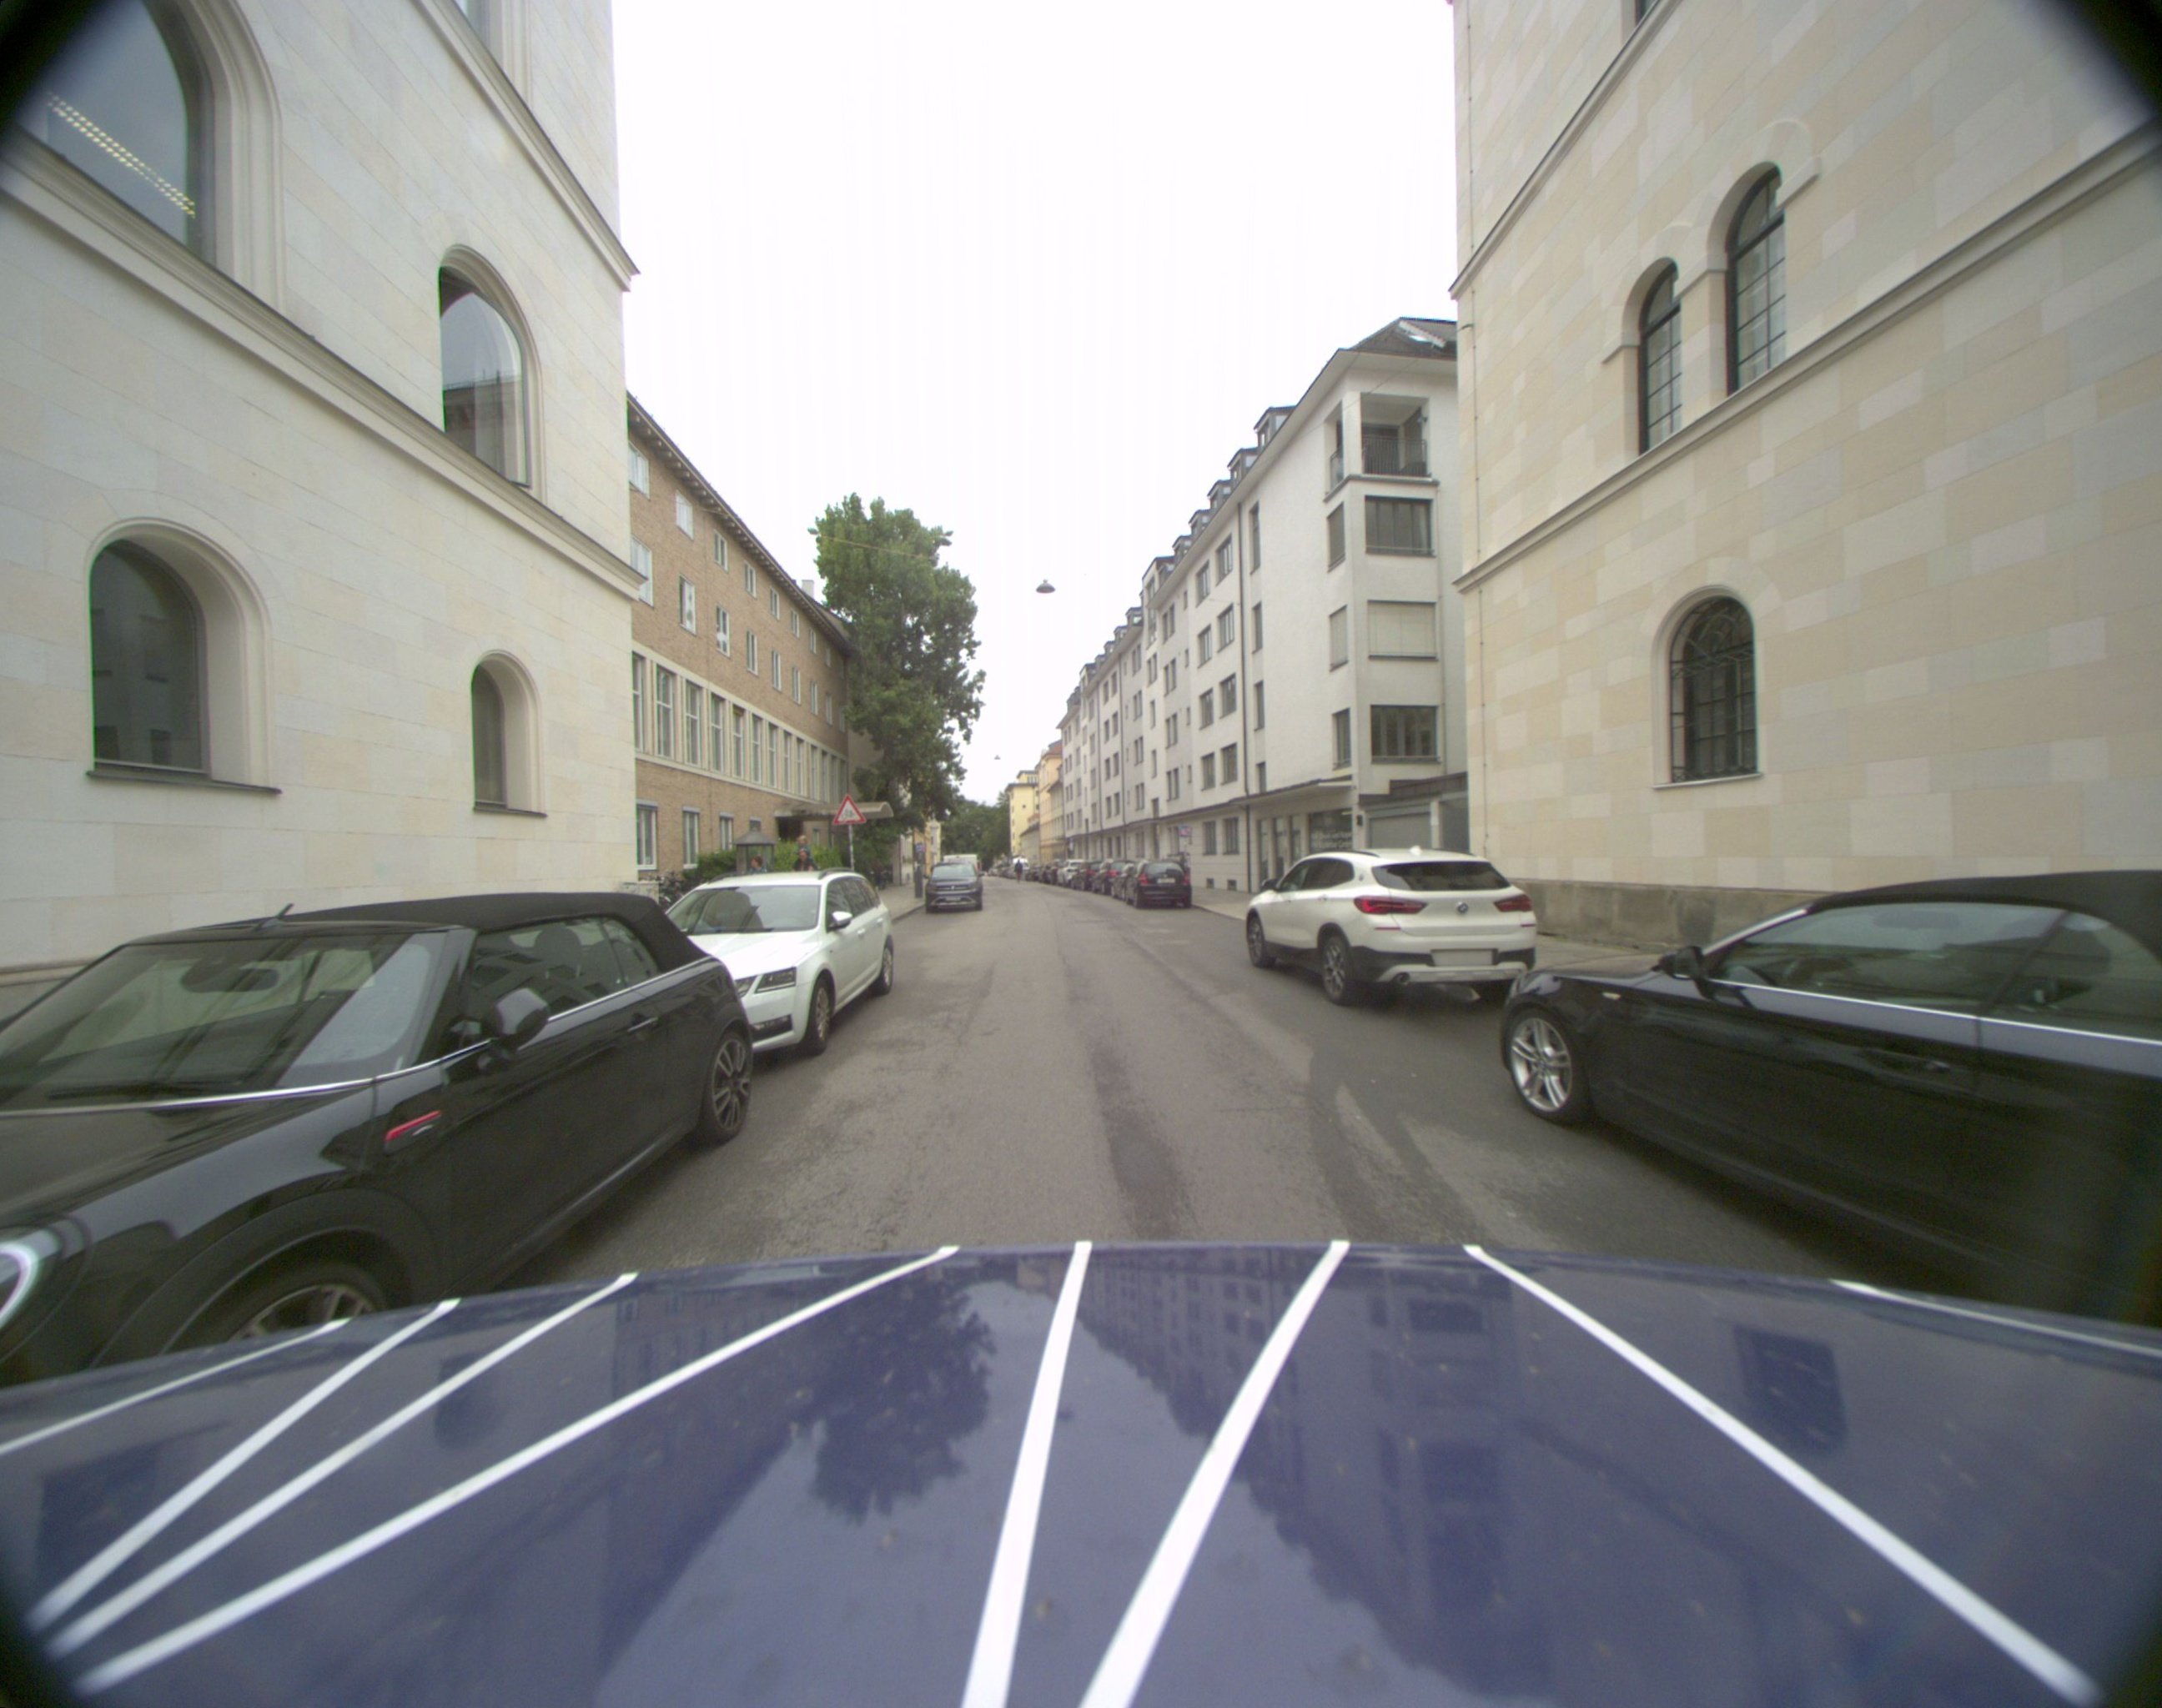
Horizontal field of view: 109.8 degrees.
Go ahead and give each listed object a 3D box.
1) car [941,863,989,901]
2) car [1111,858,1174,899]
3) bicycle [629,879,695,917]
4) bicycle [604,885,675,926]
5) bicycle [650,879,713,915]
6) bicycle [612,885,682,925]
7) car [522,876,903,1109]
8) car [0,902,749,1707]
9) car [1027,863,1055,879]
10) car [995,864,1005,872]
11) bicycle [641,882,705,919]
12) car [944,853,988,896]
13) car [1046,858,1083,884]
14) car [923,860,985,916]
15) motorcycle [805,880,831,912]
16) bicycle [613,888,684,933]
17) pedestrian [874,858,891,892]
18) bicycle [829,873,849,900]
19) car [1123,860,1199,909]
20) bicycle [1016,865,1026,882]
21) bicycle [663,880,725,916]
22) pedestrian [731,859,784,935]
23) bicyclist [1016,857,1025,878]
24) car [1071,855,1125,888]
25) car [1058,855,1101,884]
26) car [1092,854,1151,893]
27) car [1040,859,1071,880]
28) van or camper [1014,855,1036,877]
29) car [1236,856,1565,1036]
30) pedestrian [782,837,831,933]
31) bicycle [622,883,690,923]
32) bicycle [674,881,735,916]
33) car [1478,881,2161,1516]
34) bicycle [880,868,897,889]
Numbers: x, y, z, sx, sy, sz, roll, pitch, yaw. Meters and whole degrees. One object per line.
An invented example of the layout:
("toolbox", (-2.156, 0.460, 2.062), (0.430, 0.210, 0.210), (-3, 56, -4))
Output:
("car", (-4.896, 1.147, 32.441), (1.678, 1.409, 4.199), (-2, 0, -5))
("car", (2.267, 0.927, 28.999), (1.756, 1.444, 4.014), (0, -1, -5))
("bicycle", (-11.674, 1.229, 21.171), (1.634, 1.035, 0.348), (-1, 0, -1))
("bicycle", (-11.413, 1.332, 19.657), (1.634, 1.035, 0.348), (-1, 0, -1))
("bicycle", (-11.671, 1.256, 22.224), (1.634, 1.035, 0.348), (-1, 0, -1))
("bicycle", (-11.556, 1.352, 20.253), (1.634, 1.035, 0.348), (-1, 0, -1))
("car", (-3.018, 1.002, 7.361), (1.794, 1.467, 4.312), (-1, 0, -4))
("car", (-2.706, 1.039, 2.596), (1.544, 1.417, 3.771), (-3, 0, -3))
("car", (-3.536, 1.482, 66.312), (1.645, 1.346, 4.054), (0, -1, -15))
("car", (-15.048, 2.583, 140.807), (1.712, 1.490, 3.997), (-1, -1, -9))
("bicycle", (-11.665, 1.326, 21.733), (1.634, 1.035, 0.348), (-1, 0, -1))
("car", (-5.630, 0.974, 37.692), (1.888, 1.913, 4.872), (-2, 0, -7))
("car", (-1.133, 1.131, 50.818), (1.878, 1.678, 4.517), (0, -1, -9))
("car", (-4.054, 1.034, 24.751), (1.752, 1.584, 3.953), (-2, 0, -7))
("motorcycle", (-9.503, 1.492, 27.522), (0.490, 1.047, 1.923), (-2, 0, -8))
("bicycle", (-10.316, 1.346, 18.142), (1.433, 1.035, 0.348), (-1, 0, -5))
("pedestrian", (-9.912, 1.042, 37.979), (0.589, 1.623, 0.877), (-2, 0, -3))
("bicycle", (-9.904, 1.309, 31.119), (0.423, 1.047, 1.487), (-2, 0, -5))
("car", (2.462, 0.934, 24.266), (1.755, 1.444, 4.015), (0, -1, -3))
("bicycle", (-4.491, 1.423, 56.722), (0.650, 1.190, 1.949), (-1, 0, -6))
("bicycle", (-11.629, 1.317, 22.870), (1.635, 1.035, 0.348), (0, 0, -7))
("pedestrian", (-7.507, 0.981, 17.657), (0.860, 1.683, 0.751), (-2, 0, -2))
("bicyclist", (-4.506, 1.002, 56.730), (0.659, 1.542, 0.887), (-1, 1, -6))
("car", (0.833, 0.926, 40.180), (1.879, 1.648, 4.586), (0, -1, -11))
("car", (-0.142, 0.953, 45.760), (1.878, 1.648, 4.587), (0, -1, -9))
("car", (1.764, 0.873, 34.351), (1.878, 1.648, 4.077), (0, -1, -9))
("car", (-1.944, 1.155, 56.473), (1.779, 1.530, 4.156), (0, -1, -9))
("van or camper", (-6.314, 1.349, 85.024), (2.000, 2.297, 5.475), (-1, 0, -8))
("car", (3.241, 0.806, 8.763), (1.783, 1.526, 4.209), (0, 0, -4))
("pedestrian", (-6.431, 0.709, 17.846), (0.812, 2.185, 0.796), (0, 1, 6))
("bicycle", (-11.553, 1.332, 20.684), (1.634, 1.035, 0.348), (-1, 0, -1))
("bicycle", (-11.600, 1.364, 23.417), (1.635, 1.035, 0.348), (0, 0, -8))
("car", (3.386, 0.879, 2.584), (1.703, 1.384, 4.210), (0, 0, -3))
("bicycle", (-10.400, 1.305, 41.096), (0.672, 1.067, 2.222), (-1, 0, -9))
